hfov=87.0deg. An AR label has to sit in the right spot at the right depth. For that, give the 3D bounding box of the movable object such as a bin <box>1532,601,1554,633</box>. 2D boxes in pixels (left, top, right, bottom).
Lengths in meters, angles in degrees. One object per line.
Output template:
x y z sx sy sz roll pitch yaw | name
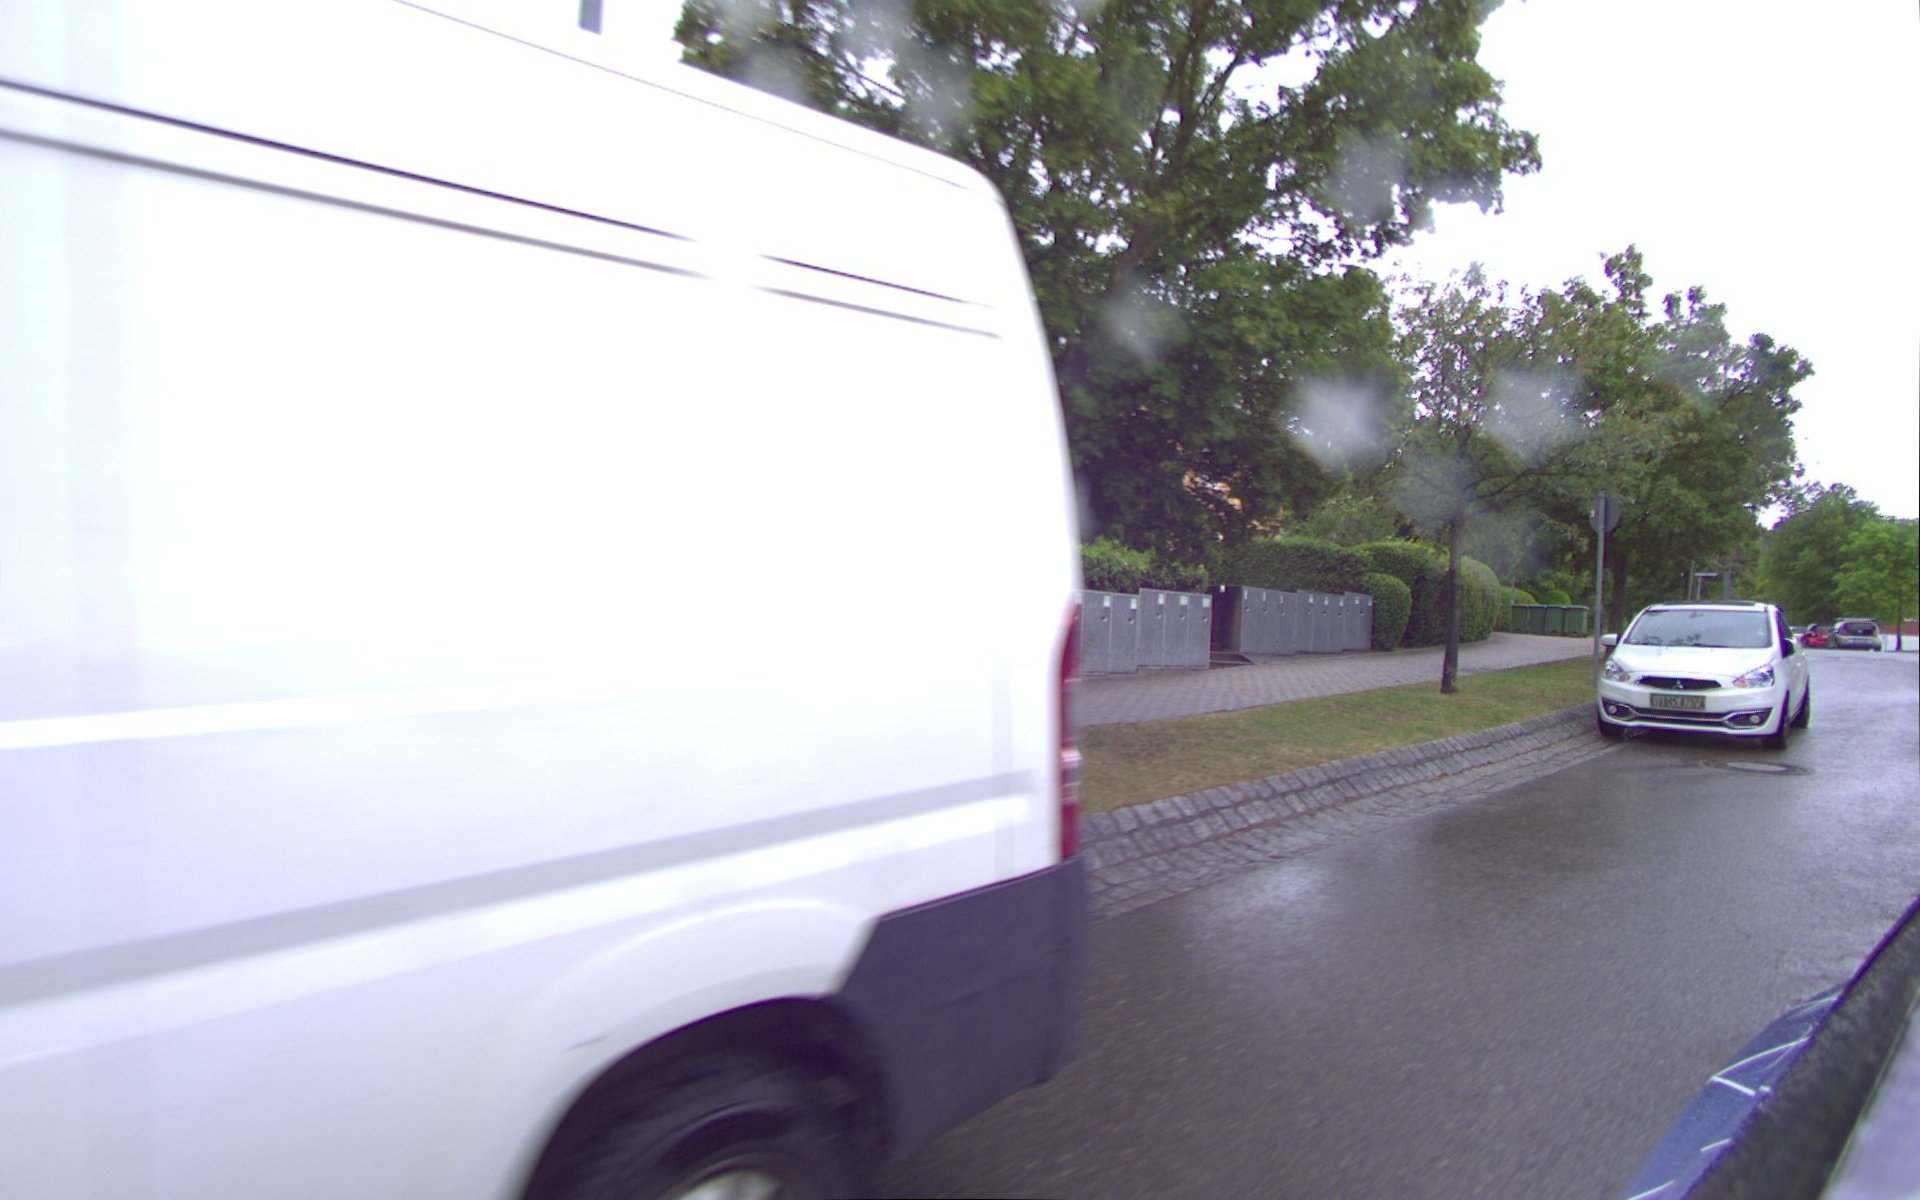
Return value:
20.271 0.603 35.200 0.576 1.081 0.687 2 -1 36 | movable object such as a bin

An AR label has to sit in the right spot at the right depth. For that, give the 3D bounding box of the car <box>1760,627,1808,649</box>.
53.415 2.484 65.644 1.717 1.297 3.296 2 -2 27 | car

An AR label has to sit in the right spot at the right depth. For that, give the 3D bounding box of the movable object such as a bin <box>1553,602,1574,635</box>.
20.760 0.630 34.821 0.540 1.088 0.687 2 -1 36 | movable object such as a bin

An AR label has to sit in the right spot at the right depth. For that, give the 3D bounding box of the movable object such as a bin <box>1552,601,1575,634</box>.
20.393 0.602 34.195 0.594 1.086 0.687 2 -1 36 | movable object such as a bin

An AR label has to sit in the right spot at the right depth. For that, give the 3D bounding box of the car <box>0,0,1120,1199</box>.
-2.357 0.188 1.337 5.414 2.498 2.121 0 0 -41 | car

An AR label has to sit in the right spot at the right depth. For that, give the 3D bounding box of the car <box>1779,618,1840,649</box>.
49.069 1.967 58.528 1.835 1.572 3.949 2 -3 28 | car

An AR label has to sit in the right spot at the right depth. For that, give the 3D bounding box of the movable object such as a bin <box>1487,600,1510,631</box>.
19.192 0.557 36.073 0.602 1.068 0.687 2 -1 36 | movable object such as a bin

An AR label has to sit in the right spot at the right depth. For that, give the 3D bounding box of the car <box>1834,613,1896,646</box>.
43.184 1.431 48.353 1.668 1.498 3.511 1 -2 33 | car

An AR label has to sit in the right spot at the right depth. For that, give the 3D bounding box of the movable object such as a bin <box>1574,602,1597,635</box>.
21.284 0.642 34.431 0.599 1.088 0.687 2 -1 36 | movable object such as a bin

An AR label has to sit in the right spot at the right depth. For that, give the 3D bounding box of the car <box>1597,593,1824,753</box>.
8.668 0.697 11.571 1.606 1.522 3.666 0 0 45 | car

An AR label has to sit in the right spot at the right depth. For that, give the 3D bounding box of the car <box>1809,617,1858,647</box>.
45.933 1.694 53.281 1.543 1.455 2.975 1 -2 33 | car

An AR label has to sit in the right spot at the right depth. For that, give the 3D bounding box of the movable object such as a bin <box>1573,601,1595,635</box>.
20.851 0.608 33.794 0.541 1.087 0.658 2 -1 37 | movable object such as a bin

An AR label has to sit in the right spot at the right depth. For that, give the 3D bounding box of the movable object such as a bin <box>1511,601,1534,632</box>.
19.814 0.591 35.620 0.602 1.068 0.687 2 -1 36 | movable object such as a bin
